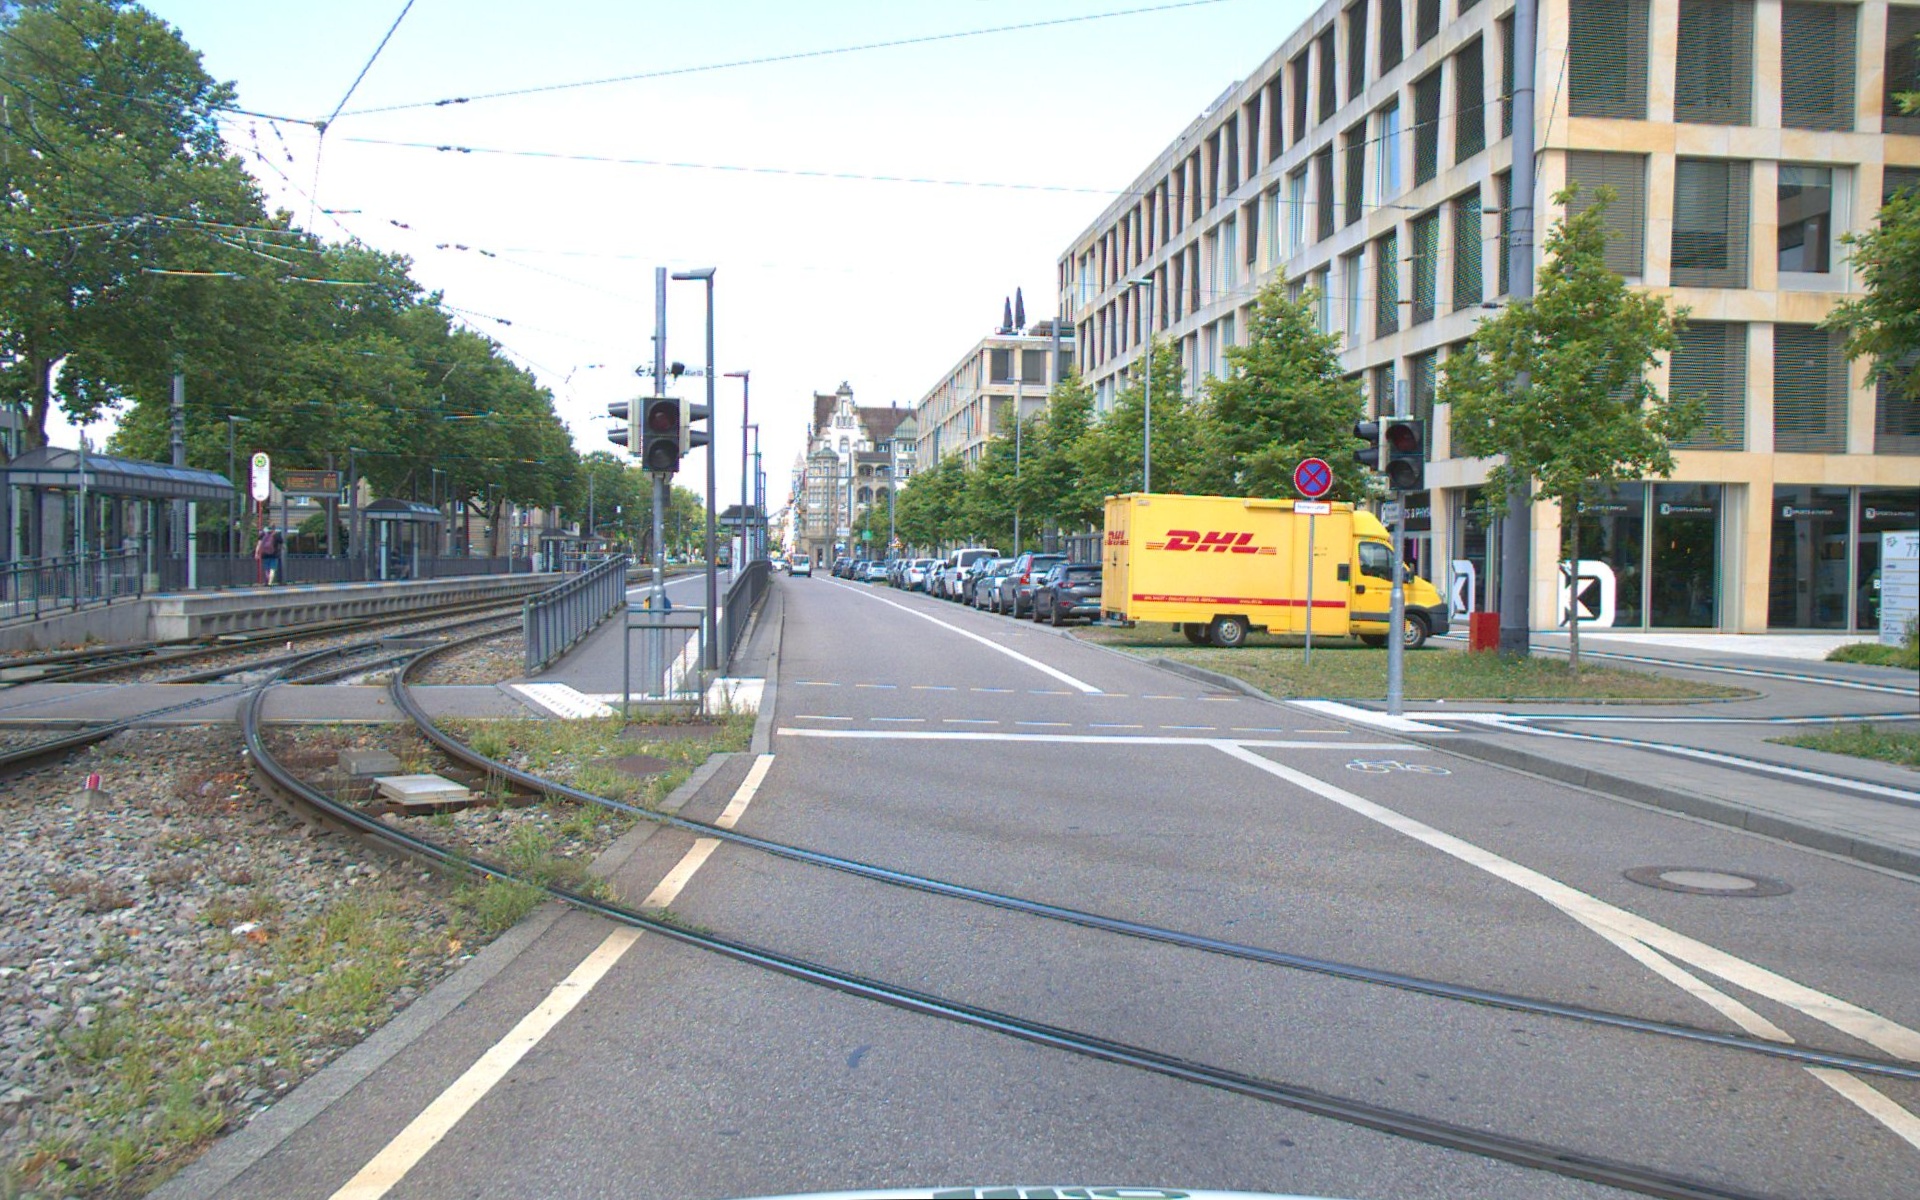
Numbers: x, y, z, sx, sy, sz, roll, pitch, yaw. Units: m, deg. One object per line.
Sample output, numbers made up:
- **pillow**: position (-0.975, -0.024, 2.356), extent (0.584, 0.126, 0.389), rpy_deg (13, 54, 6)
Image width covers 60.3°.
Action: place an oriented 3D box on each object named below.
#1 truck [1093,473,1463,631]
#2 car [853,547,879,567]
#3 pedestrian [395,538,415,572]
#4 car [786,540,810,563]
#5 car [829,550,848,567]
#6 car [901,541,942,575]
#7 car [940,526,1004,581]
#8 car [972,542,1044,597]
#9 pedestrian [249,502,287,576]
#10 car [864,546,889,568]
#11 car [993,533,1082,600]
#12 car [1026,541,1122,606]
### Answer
- **truck**: position (6.129, -0.909, 32.282), extent (6.680, 2.917, 2.449), rpy_deg (0, 1, -9)
- **car**: position (-7.231, -3.288, 126.850), extent (1.562, 1.459, 4.099), rpy_deg (2, 1, -9)
- **pedestrian**: position (-21.469, -1.745, 63.981), extent (0.542, 1.291, 0.767), rpy_deg (0, 1, -5)
- **car**: position (-13.331, -3.953, 136.038), extent (1.833, 1.777, 3.994), rpy_deg (2, 1, -7)
- **car**: position (-11.298, -3.882, 153.750), extent (1.416, 1.495, 4.085), rpy_deg (-2, 2, -9)
- **car**: position (-1.989, -2.136, 83.777), extent (1.653, 1.634, 4.146), rpy_deg (-1, 2, -7)
- **car**: position (0.417, -1.758, 63.072), extent (1.846, 1.973, 4.836), rpy_deg (-1, 2, -7)
- **car**: position (1.464, -0.979, 51.904), extent (1.688, 1.648, 3.854), rpy_deg (0, 1, -7)
- **pedestrian**: position (-17.970, -1.582, 42.942), extent (0.693, 1.877, 0.863), rpy_deg (0, 2, -8)
- **car**: position (-5.902, -3.015, 116.162), extent (1.560, 1.485, 3.609), rpy_deg (2, 1, -6)
- **car**: position (2.118, -0.961, 46.796), extent (1.735, 1.798, 4.833), rpy_deg (0, 1, -7)
- **car**: position (2.801, -0.686, 41.369), extent (1.659, 1.531, 4.062), rpy_deg (0, 1, -7)
